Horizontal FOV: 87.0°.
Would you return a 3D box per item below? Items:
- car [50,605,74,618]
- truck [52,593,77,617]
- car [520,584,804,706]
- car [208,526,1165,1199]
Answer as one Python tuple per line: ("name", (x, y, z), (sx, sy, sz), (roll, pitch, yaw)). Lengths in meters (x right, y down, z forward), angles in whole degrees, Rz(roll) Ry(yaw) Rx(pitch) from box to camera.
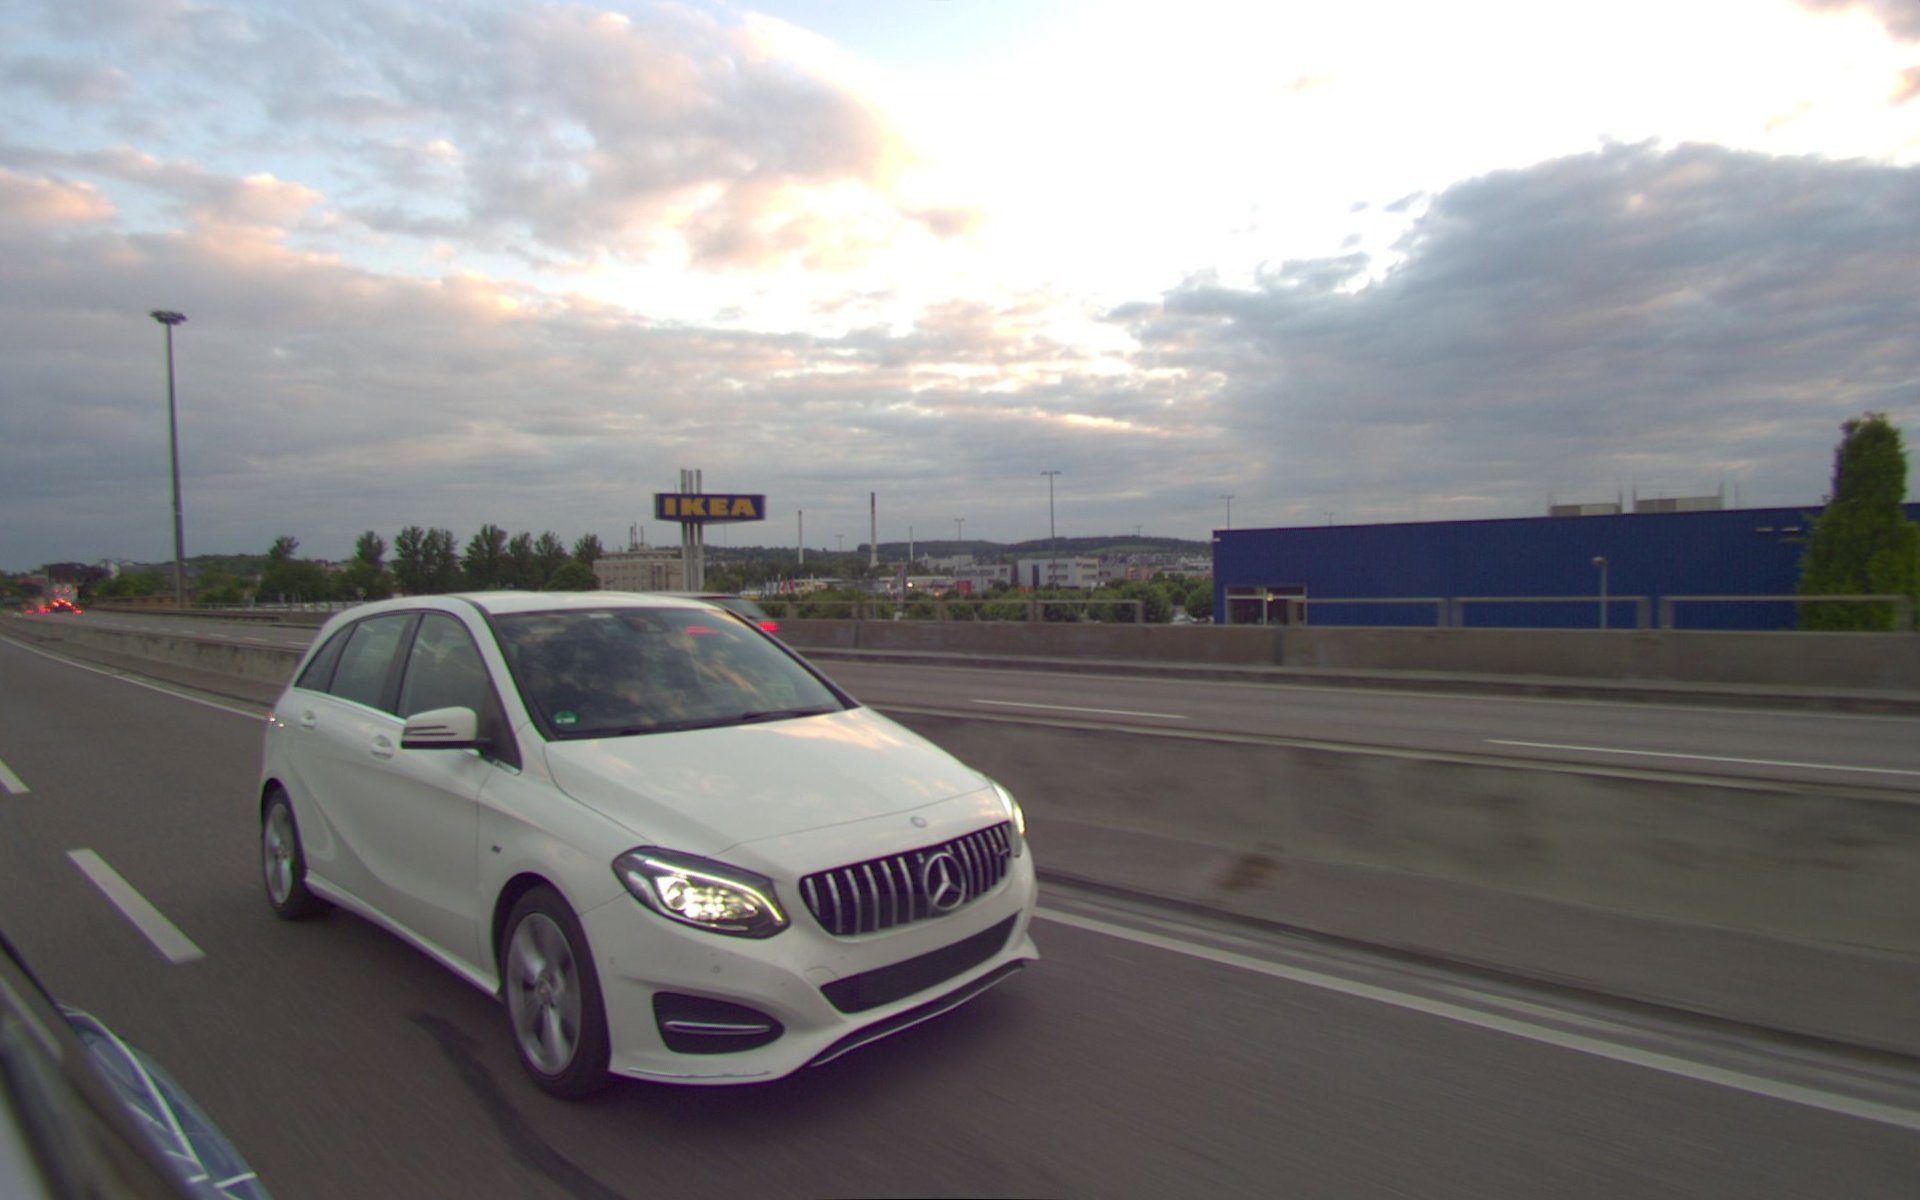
("car", (-111.834, 1.409, 126.031), (1.954, 1.618, 4.444), (-1, 1, -44))
("truck", (-127.481, 0.671, 144.022), (2.504, 3.321, 7.455), (-1, 1, -42))
("car", (-4.361, 0.552, 14.520), (4.283, 1.491, 1.811), (0, 1, 39))
("car", (-1.649, 0.656, 4.436), (4.781, 1.548, 1.673), (-2, 0, 41))
